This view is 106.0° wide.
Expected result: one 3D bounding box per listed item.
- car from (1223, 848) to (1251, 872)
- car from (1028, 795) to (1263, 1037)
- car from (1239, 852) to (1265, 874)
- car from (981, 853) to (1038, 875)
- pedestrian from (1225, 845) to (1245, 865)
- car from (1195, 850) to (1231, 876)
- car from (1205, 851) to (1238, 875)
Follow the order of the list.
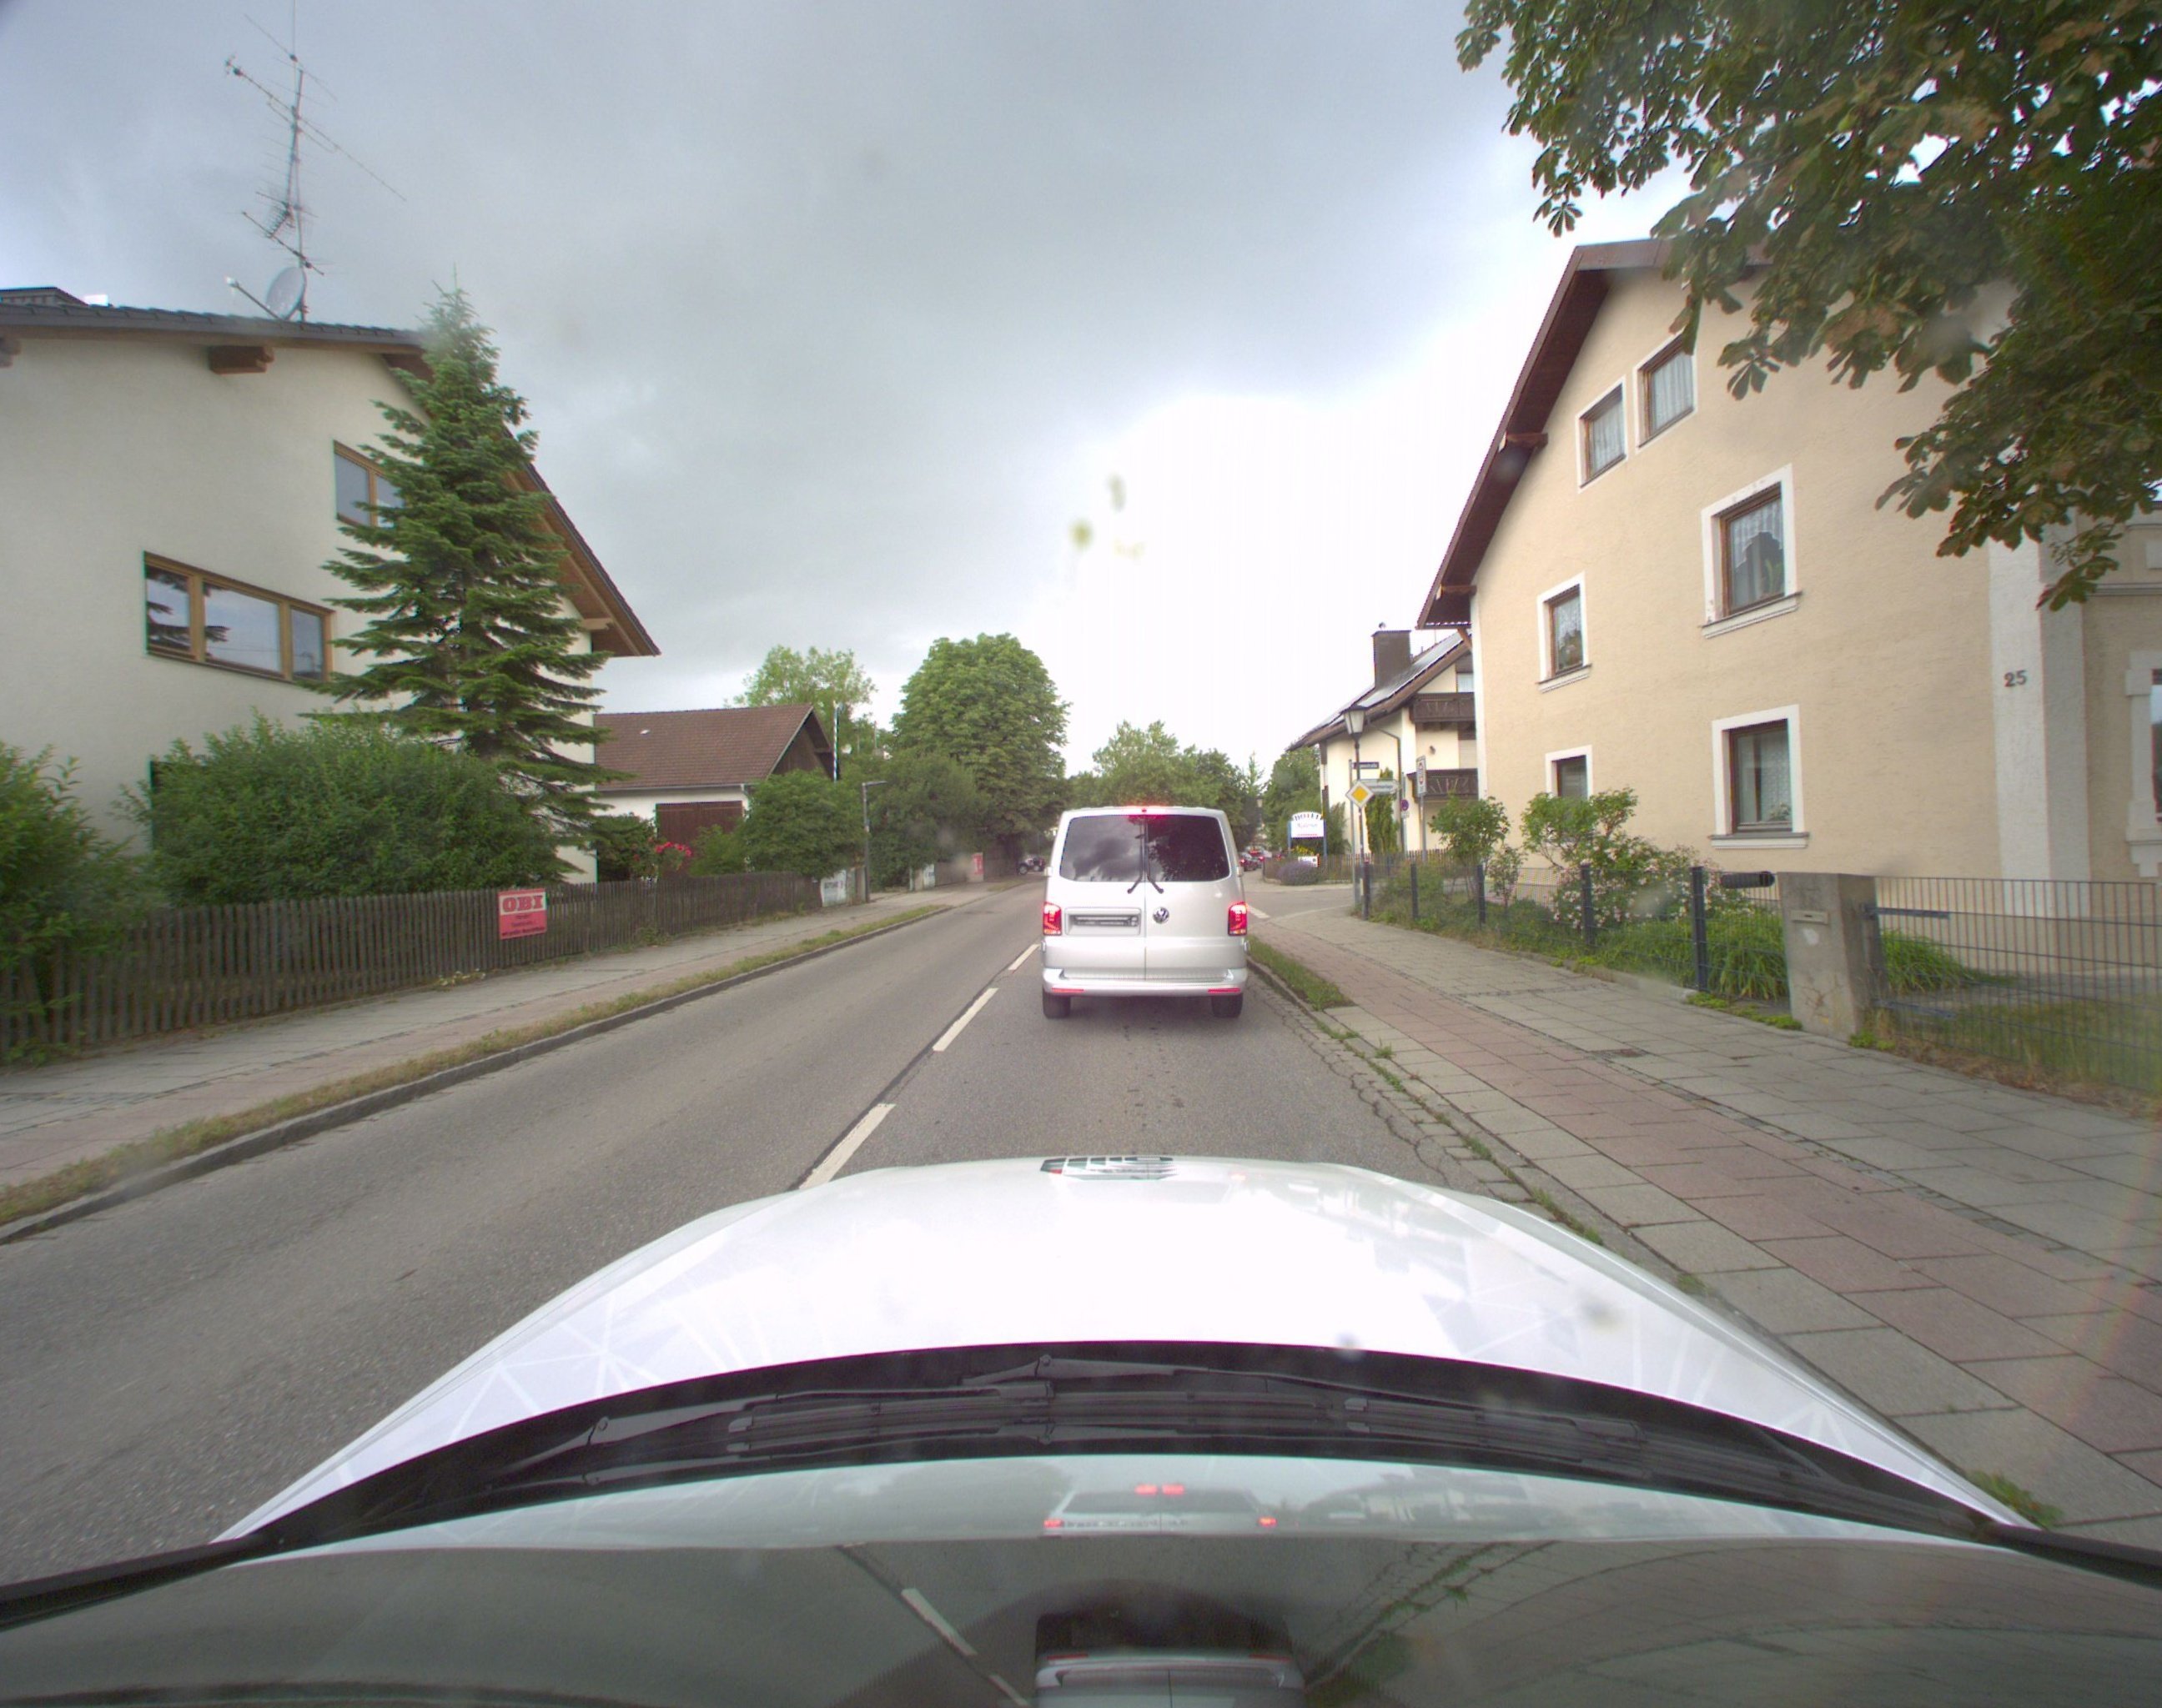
[{"bbox_3d":[12.495,0.455,65.051,1.868,1.748,4.096,-2,0,14],"label":"car"},{"bbox_3d":[0.617,0.515,8.683,1.874,1.940,3.923,-2,0,2],"label":"car"},{"bbox_3d":[15.093,0.750,71.703,1.867,1.825,3.937,-2,0,16],"label":"car"},{"bbox_3d":[-5.122,0.717,58.437,3.982,1.486,1.996,-1,0,-7],"label":"car"},{"bbox_3d":[16.104,0.122,85.033,1.369,2.013,1.504,-1,0,-37],"label":"pedestrian"},{"bbox_3d":[8.393,0.569,51.598,1.868,1.535,3.935,-2,0,14],"label":"car"},{"bbox_3d":[9.772,0.587,56.459,1.867,1.535,3.937,-2,0,15],"label":"car"}]
